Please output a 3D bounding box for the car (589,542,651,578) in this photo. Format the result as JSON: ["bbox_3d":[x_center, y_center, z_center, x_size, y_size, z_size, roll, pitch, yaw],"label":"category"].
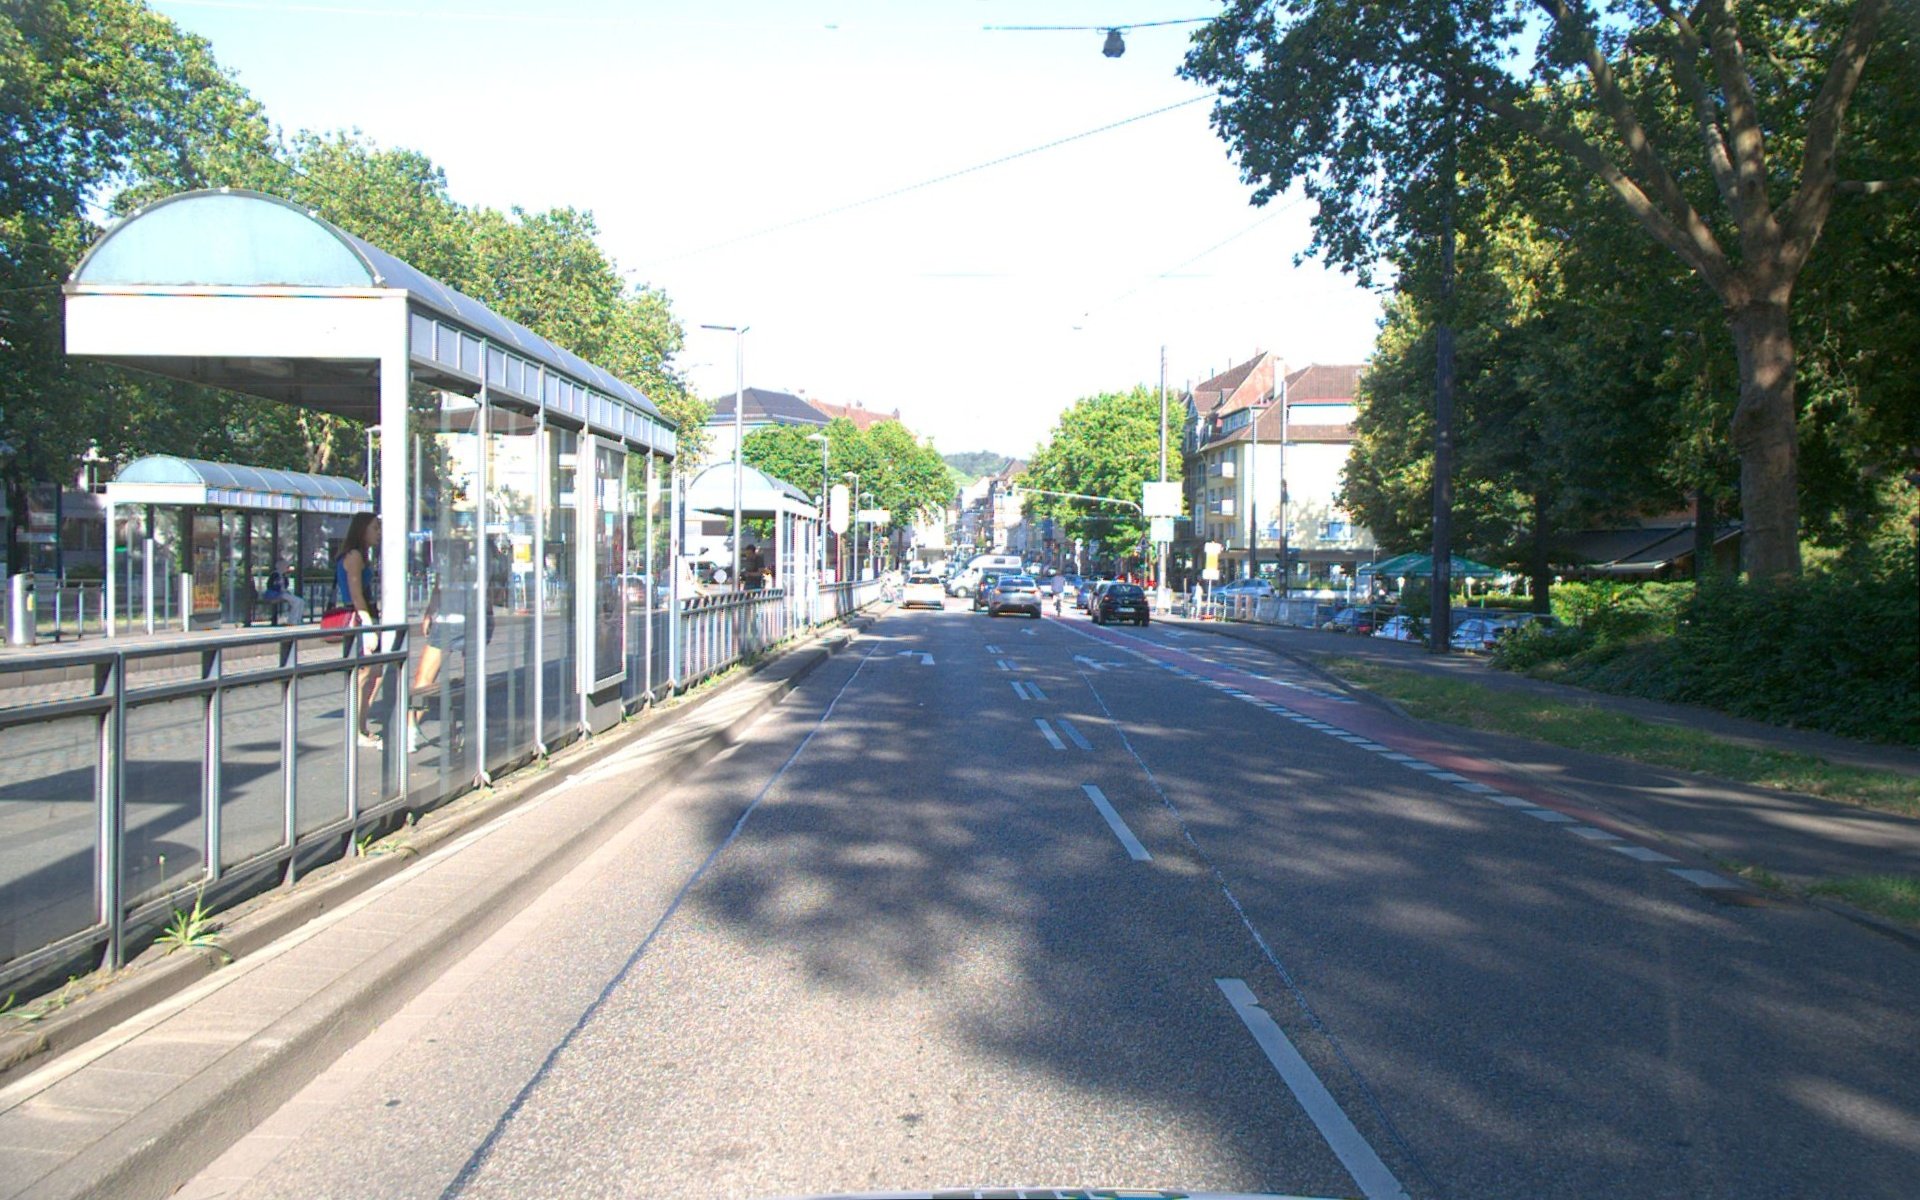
[{"bbox_3d":[-31.357,-3.694,152.787,2.445,3.220,6.535,1,1,21],"label":"car"}]

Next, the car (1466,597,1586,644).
[{"bbox_3d":[19.738,0.694,57.594,4.203,1.431,1.940,-2,2,-36],"label":"car"}]

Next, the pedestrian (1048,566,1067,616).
[{"bbox_3d":[3.789,-0.355,64.322,0.643,1.903,0.677,1,1,-2],"label":"pedestrian"}]

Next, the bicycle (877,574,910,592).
[{"bbox_3d":[-3.196,-0.835,79.442,1.581,0.830,0.526,1,1,30],"label":"bicycle"}]

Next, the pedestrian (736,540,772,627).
[{"bbox_3d":[-4.081,-0.331,32.778,0.583,1.707,0.590,1,0,4],"label":"pedestrian"}]

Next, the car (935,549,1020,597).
[{"bbox_3d":[1.065,-1.670,102.439,4.920,2.791,2.070,1,0,-8],"label":"car"}]

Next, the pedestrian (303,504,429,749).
[{"bbox_3d":[-4.025,0.169,11.237,0.576,1.594,0.650,2,1,-1],"label":"pedestrian"}]

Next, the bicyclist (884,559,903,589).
[{"bbox_3d":[-3.190,-1.246,79.436,0.785,1.438,0.526,1,1,30],"label":"bicyclist"}]

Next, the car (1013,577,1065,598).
[{"bbox_3d":[4.904,-0.784,102.982,2.848,1.183,2.070,1,0,-8],"label":"car"}]

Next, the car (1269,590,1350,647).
[{"bbox_3d":[12.656,0.645,60.071,1.758,1.931,4.357,2,0,-3],"label":"car"}]

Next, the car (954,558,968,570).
[{"bbox_3d":[0.121,-4.663,216.706,1.758,1.536,3.999,1,1,-2],"label":"car"}]

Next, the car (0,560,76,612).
[{"bbox_3d":[-44.407,-0.683,77.023,2.107,2.376,5.723,1,1,22],"label":"car"}]

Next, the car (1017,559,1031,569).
[{"bbox_3d":[9.568,-5.403,247.564,1.758,1.549,3.999,1,1,-1],"label":"car"}]

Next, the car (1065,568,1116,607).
[{"bbox_3d":[5.624,-0.551,71.608,1.758,1.536,4.000,1,2,-1],"label":"car"}]

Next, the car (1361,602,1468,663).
[{"bbox_3d":[13.102,0.899,47.978,1.758,1.606,4.442,2,0,-1],"label":"car"}]

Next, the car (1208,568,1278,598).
[{"bbox_3d":[17.616,-1.069,102.879,4.059,1.721,1.823,2,1,15],"label":"car"}]

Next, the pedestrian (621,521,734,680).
[{"bbox_3d":[-3.072,-0.003,18.028,0.787,1.662,0.863,3,1,36],"label":"pedestrian"}]

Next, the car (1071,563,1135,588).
[{"bbox_3d":[9.483,-1.626,109.734,3.921,1.536,1.793,2,1,36],"label":"car"}]

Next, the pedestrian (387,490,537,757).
[{"bbox_3d":[-3.358,0.150,11.213,0.727,1.724,0.791,2,1,-1],"label":"pedestrian"}]

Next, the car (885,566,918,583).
[{"bbox_3d":[-5.551,-2.407,157.599,1.689,1.536,3.875,1,1,23],"label":"car"}]

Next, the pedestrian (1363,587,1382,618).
[{"bbox_3d":[18.557,0.124,74.434,0.635,1.361,0.632,3,1,-1],"label":"pedestrian"}]

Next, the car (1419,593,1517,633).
[{"bbox_3d":[19.708,0.494,64.134,3.960,1.371,1.755,-2,2,-39],"label":"car"}]

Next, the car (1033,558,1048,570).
[{"bbox_3d":[10.814,-4.829,222.194,1.758,1.536,3.999,1,1,-1],"label":"car"}]

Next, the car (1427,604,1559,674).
[{"bbox_3d":[13.446,0.944,41.977,1.758,1.606,4.552,2,0,-1],"label":"car"}]

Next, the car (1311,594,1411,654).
[{"bbox_3d":[13.088,0.745,54.226,1.760,1.834,4.204,2,0,-8],"label":"car"}]

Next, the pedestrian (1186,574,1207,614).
[{"bbox_3d":[9.560,-0.248,66.808,0.634,1.590,0.632,3,1,18],"label":"pedestrian"}]

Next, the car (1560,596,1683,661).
[{"bbox_3d":[19.968,0.823,49.861,3.961,1.765,1.775,-2,2,-39],"label":"car"}]

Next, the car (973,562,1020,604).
[{"bbox_3d":[1.497,-0.741,69.121,1.764,1.666,4.044,1,1,-2],"label":"car"}]

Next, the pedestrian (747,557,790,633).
[{"bbox_3d":[-3.420,-0.096,29.537,0.665,1.331,0.593,1,0,-1],"label":"pedestrian"}]

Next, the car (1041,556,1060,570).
[{"bbox_3d":[11.778,-4.818,215.687,2.062,1.807,4.340,1,1,-1],"label":"car"}]

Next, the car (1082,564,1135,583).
[{"bbox_3d":[11.914,-2.134,133.136,3.914,1.536,1.796,0,1,-10],"label":"car"}]

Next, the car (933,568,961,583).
[{"bbox_3d":[-1.332,-2.510,171.741,1.756,1.536,4.002,1,1,17],"label":"car"}]

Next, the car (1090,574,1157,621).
[{"bbox_3d":[5.559,-0.126,56.764,1.764,1.463,4.044,2,1,-1],"label":"car"}]

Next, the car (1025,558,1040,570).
[{"bbox_3d":[10.026,-4.984,228.337,1.758,1.536,3.999,1,1,-1],"label":"car"}]

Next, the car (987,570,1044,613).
[{"bbox_3d":[2.042,-0.361,62.022,1.890,1.498,4.854,1,1,-1],"label":"car"}]

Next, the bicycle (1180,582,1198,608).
[{"bbox_3d":[10.034,-0.235,72.397,0.488,1.093,1.800,2,0,-1],"label":"bicycle"}]

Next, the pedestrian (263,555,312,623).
[{"bbox_3d":[-13.779,-0.228,33.886,0.656,1.347,0.756,-2,1,-3],"label":"pedestrian"}]

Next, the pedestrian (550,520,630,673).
[{"bbox_3d":[-4.346,-0.040,19.412,0.646,1.752,0.701,2,1,-37],"label":"pedestrian"}]

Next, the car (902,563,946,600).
[{"bbox_3d":[-1.546,-0.800,70.694,1.772,1.477,3.999,1,1,-2],"label":"car"}]

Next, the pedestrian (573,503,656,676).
[{"bbox_3d":[-3.848,-0.122,18.446,0.637,1.873,0.711,2,1,9],"label":"pedestrian"}]
